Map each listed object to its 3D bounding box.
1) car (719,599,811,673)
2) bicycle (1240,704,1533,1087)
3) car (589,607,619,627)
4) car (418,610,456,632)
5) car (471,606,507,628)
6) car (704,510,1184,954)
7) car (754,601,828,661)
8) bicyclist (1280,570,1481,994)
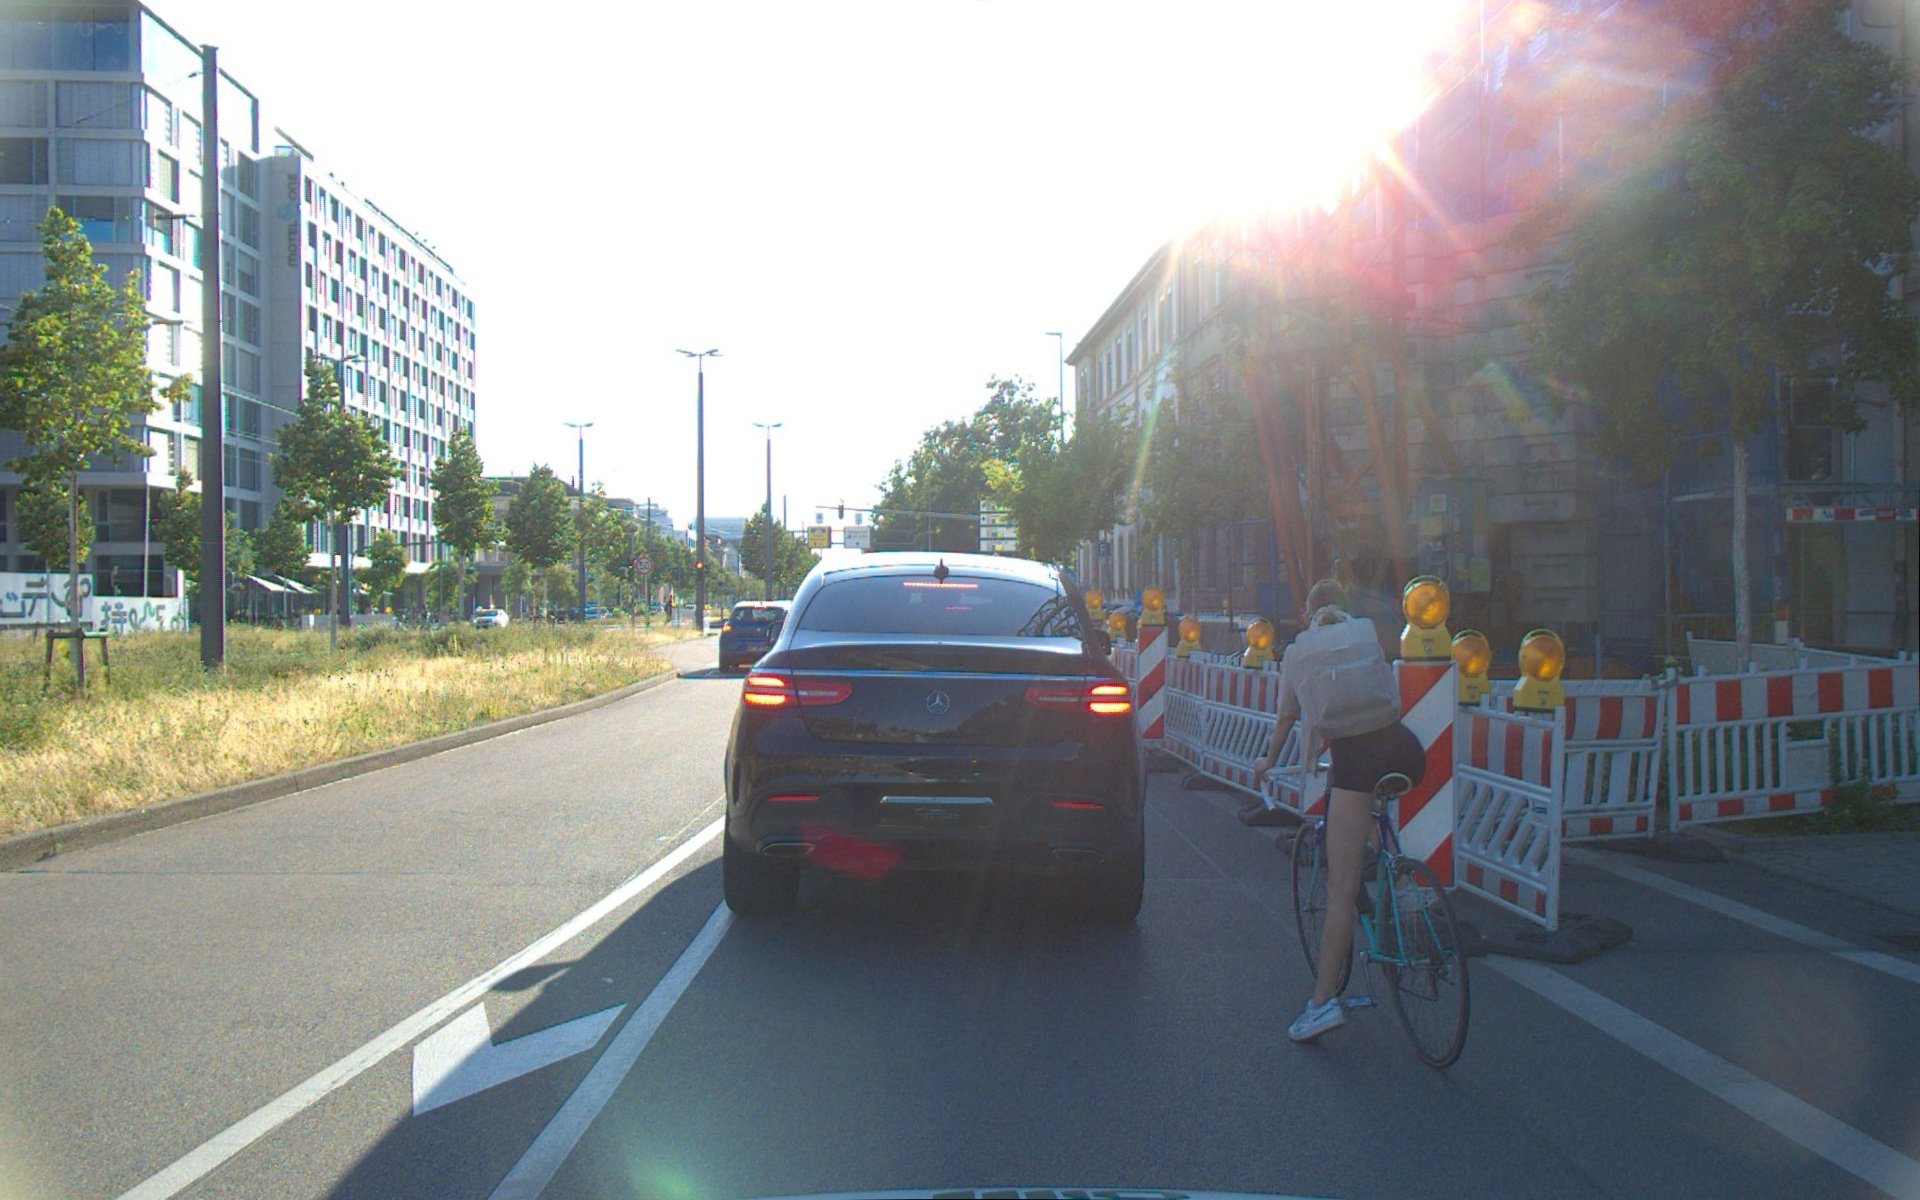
[{"bbox_3d":[-4.103,0.742,35.259,1.674,1.467,3.580,1,0,-3],"label":"car"},{"bbox_3d":[1.457,0.962,5.940,0.502,1.070,1.724,1,0,-3],"label":"bicycle"},{"bbox_3d":[-27.389,1.305,127.306,1.674,1.467,3.580,1,0,-3],"label":"car"},{"bbox_3d":[-36.977,1.493,116.990,1.674,1.467,3.580,1,0,-3],"label":"car"},{"bbox_3d":[-32.773,1.166,115.161,1.674,1.467,3.580,1,0,-3],"label":"car"},{"bbox_3d":[-0.091,0.556,8.828,1.953,1.803,3.999,1,0,-1],"label":"car"},{"bbox_3d":[-4.311,0.767,42.625,1.674,1.467,3.580,1,0,-3],"label":"car"},{"bbox_3d":[1.473,0.615,5.867,0.512,1.420,0.614,1,-1,-4],"label":"bicyclist"}]
